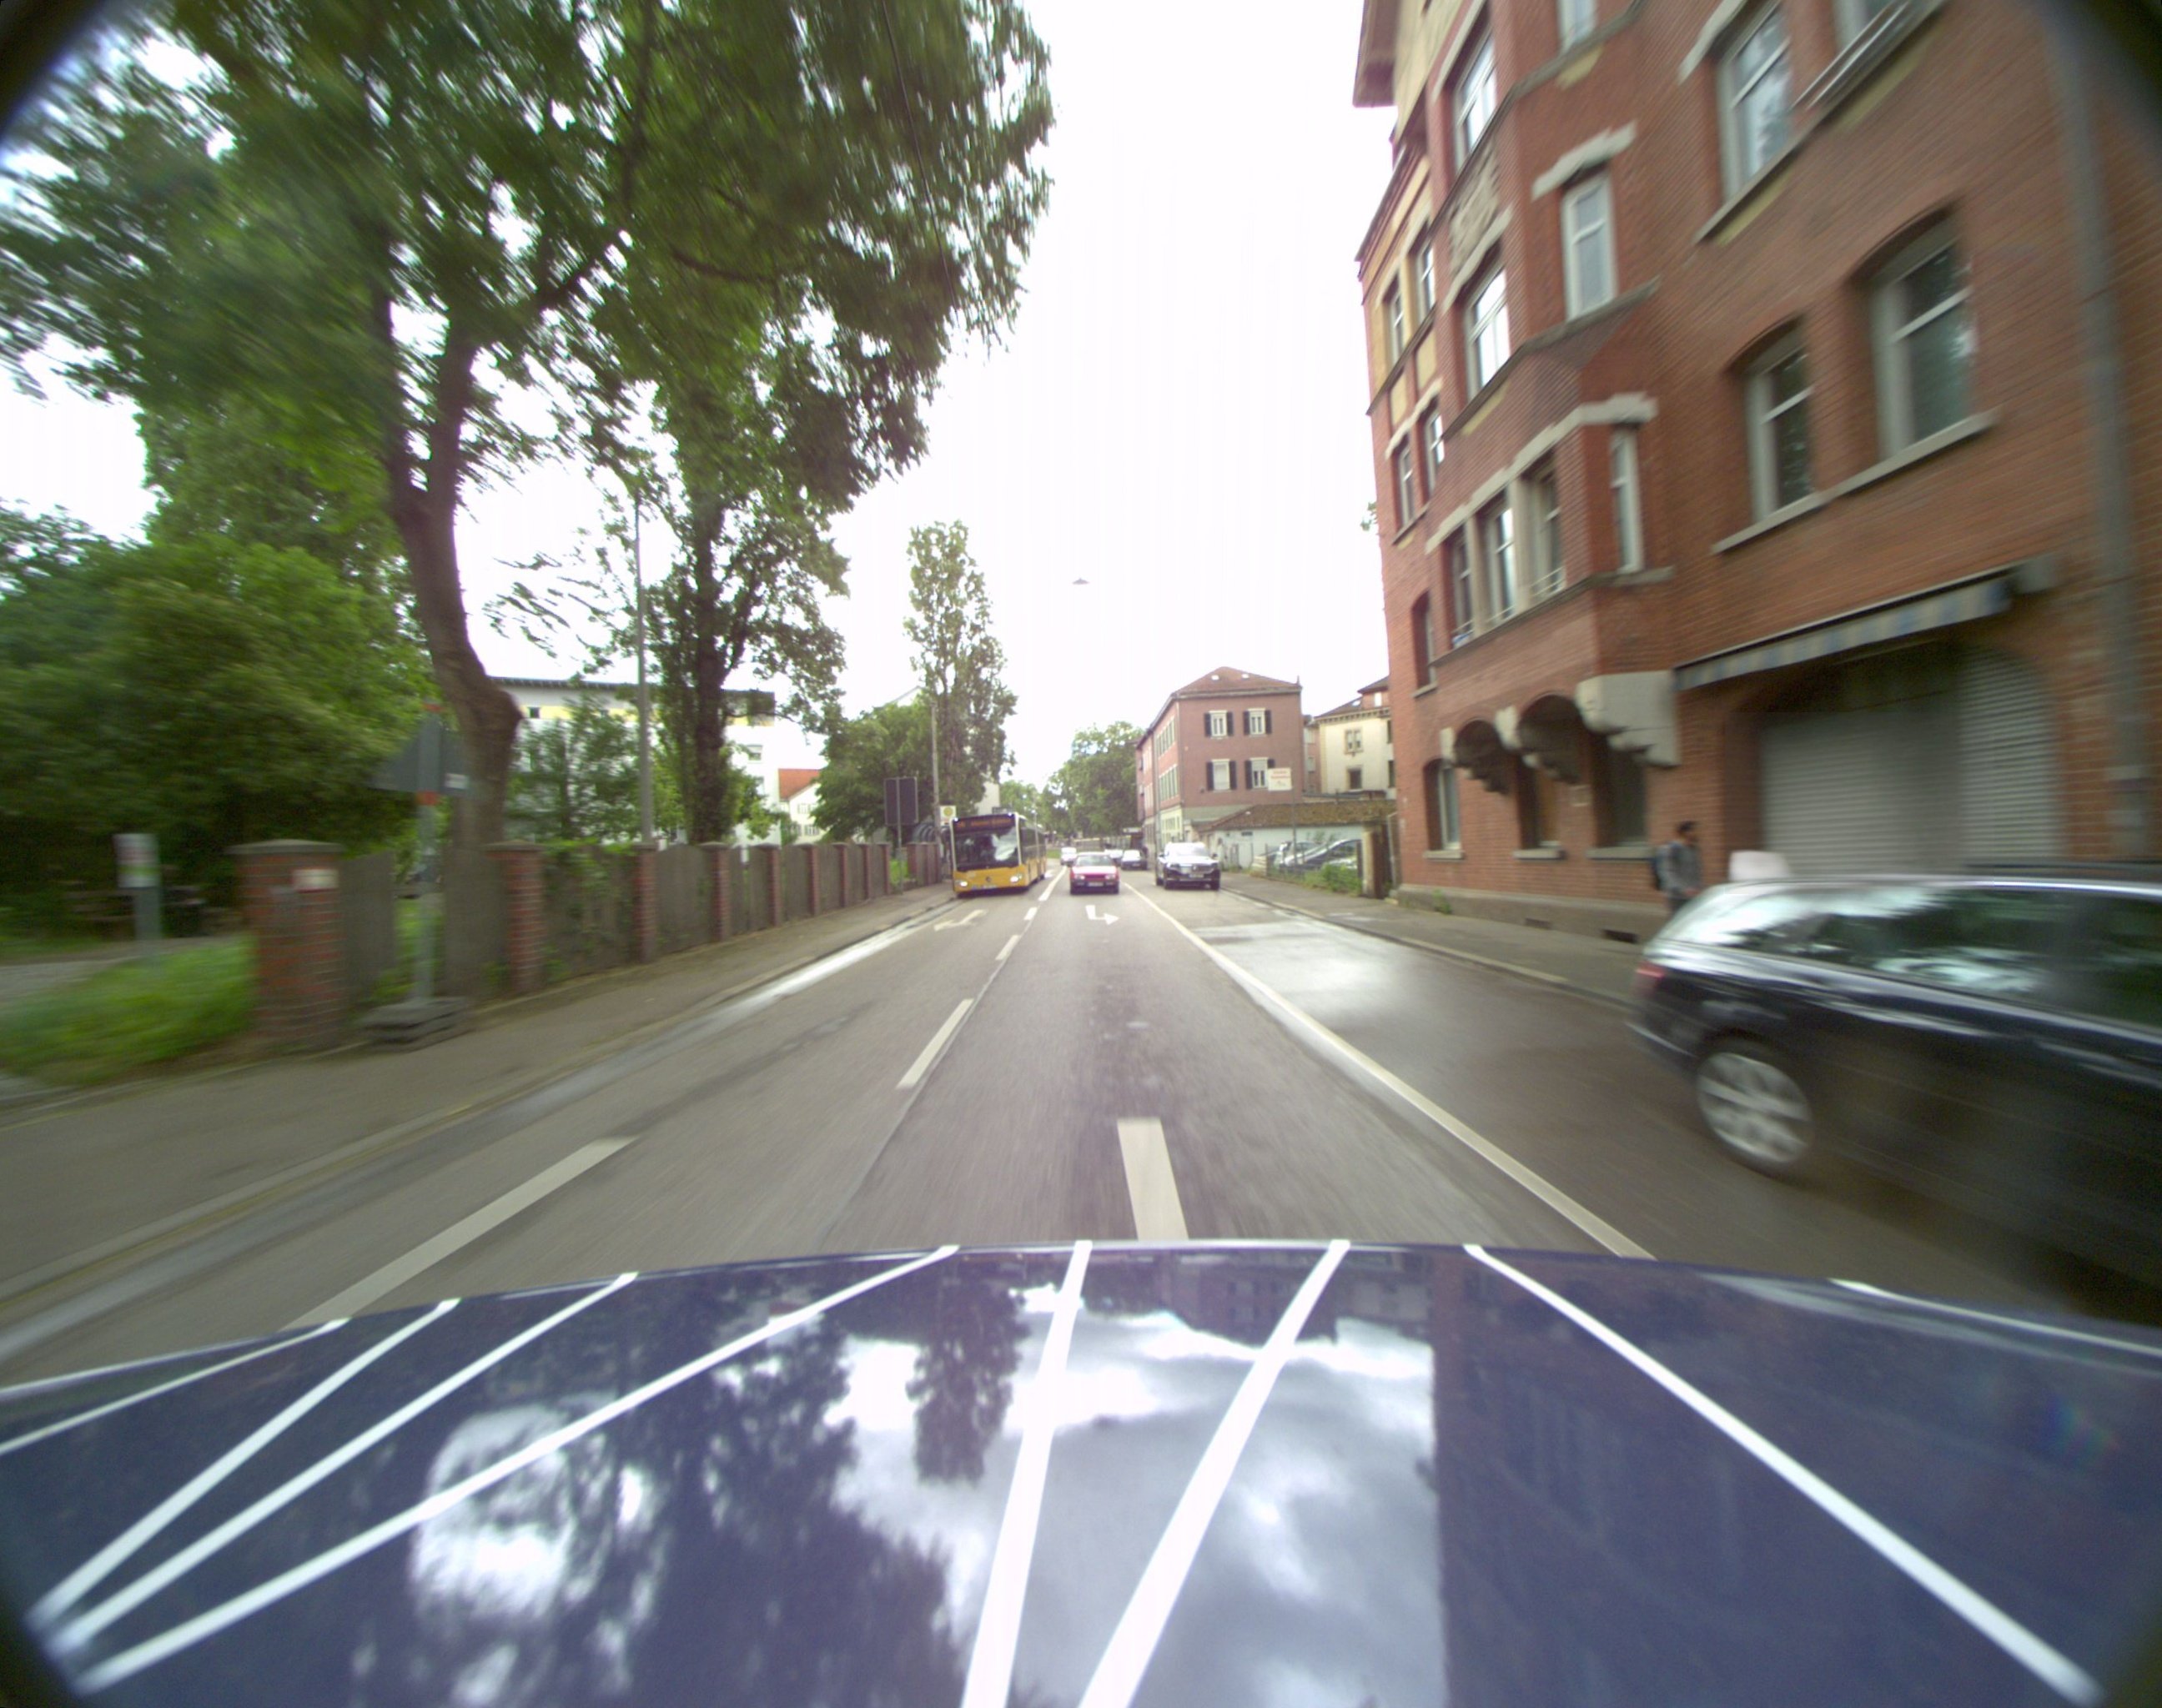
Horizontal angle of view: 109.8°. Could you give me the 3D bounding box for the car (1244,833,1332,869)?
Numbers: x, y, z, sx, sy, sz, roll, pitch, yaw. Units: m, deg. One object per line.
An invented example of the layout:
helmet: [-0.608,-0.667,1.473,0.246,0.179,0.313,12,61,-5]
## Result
car: [9.978,-0.152,36.824,3.772,1.634,1.853,-1,1,1]

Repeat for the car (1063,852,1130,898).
car: [0.450,0.649,25.949,1.851,1.414,4.171,-1,0,-4]

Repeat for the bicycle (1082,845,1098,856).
bicycle: [1.187,-0.452,96.652,1.809,1.170,0.723,-5,3,-25]

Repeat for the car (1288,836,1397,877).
car: [10.055,0.079,29.399,3.605,1.496,1.853,-1,1,1]

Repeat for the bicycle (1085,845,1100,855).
bicycle: [1.466,-0.507,98.085,1.875,1.107,0.577,-5,2,-4]

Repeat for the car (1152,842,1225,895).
car: [3.880,0.470,28.262,1.959,1.724,4.773,-3,0,0]

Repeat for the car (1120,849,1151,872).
car: [3.985,0.450,55.726,1.883,1.478,4.126,-4,1,0]

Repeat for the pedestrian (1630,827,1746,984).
pedestrian: [6.594,0.542,8.282,0.661,1.600,0.632,-4,1,1]

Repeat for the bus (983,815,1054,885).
bus: [-3.100,-0.248,40.650,2.669,3.118,10.038,-4,1,0]

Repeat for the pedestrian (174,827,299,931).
pedestrian: [-16.986,0.463,15.340,1.135,2.002,1.250,-1,2,-17]

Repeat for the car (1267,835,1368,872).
car: [10.070,-0.036,32.509,3.732,1.496,1.853,-1,1,1]

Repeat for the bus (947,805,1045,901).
bus: [-3.173,-0.090,31.018,2.678,3.120,9.216,-4,1,0]

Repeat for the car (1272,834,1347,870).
car: [10.349,-0.103,34.584,2.854,1.556,1.853,-1,1,1]

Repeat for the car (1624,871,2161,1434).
car: [3.848,0.839,1.982,1.729,1.477,4.391,-3,-1,1]

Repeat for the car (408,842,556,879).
car: [-30.587,0.275,39.069,5.566,1.581,1.995,-2,3,-24]

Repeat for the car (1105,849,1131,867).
car: [3.488,0.330,72.189,1.834,1.447,4.917,-3,2,-5]

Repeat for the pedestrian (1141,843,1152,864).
pedestrian: [5.854,-0.043,67.880,0.763,1.734,0.984,-5,0,-2]

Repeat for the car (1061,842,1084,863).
car: [-0.958,-0.216,80.585,2.073,1.776,4.453,-5,5,-3]

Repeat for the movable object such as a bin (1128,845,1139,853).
movable object such as a bin: [6.741,-0.614,97.158,0.674,0.959,1.076,-9,4,-44]
